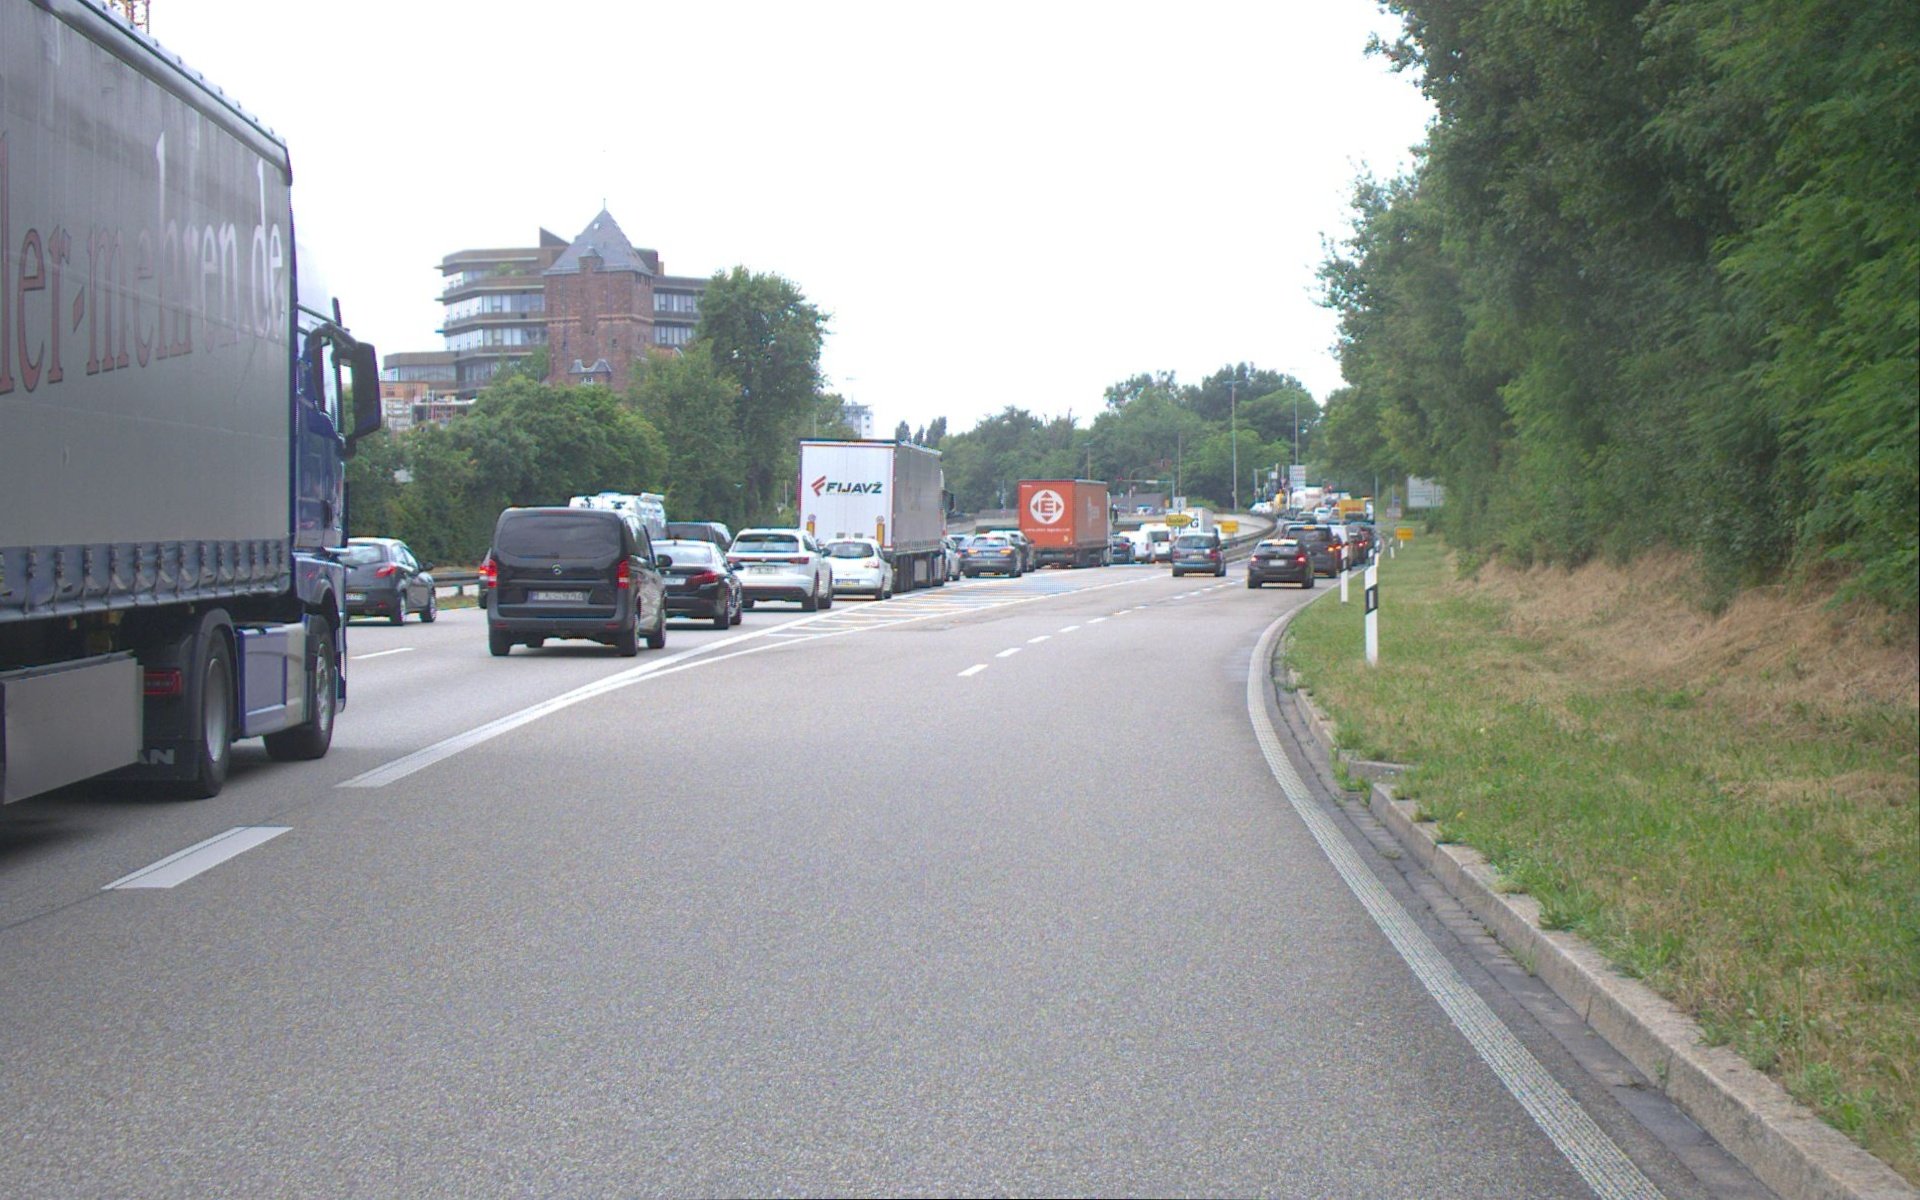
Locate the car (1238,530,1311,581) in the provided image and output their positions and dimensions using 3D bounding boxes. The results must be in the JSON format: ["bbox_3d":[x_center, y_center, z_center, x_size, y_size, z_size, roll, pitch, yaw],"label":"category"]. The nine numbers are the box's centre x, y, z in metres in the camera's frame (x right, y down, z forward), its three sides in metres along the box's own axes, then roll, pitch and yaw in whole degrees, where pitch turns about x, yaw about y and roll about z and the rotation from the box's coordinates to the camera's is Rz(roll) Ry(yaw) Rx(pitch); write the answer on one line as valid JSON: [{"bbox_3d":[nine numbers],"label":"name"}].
[{"bbox_3d":[9.290,-1.324,101.398,1.826,1.477,3.998,0,1,10],"label":"car"}]

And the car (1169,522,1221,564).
[{"bbox_3d":[8.597,-2.082,125.646,1.825,1.477,4.000,-1,1,5],"label":"car"}]

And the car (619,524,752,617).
[{"bbox_3d":[-4.554,-0.505,57.610,1.847,1.455,4.831,1,1,0],"label":"car"}]

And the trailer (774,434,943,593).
[{"bbox_3d":[-2.633,-2.274,94.678,3.299,4.022,13.096,1,1,4],"label":"trailer"}]

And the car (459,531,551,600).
[{"bbox_3d":[-9.436,-0.718,71.487,1.441,1.382,3.048,1,1,1],"label":"car"}]

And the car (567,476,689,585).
[{"bbox_3d":[-7.972,-1.674,82.978,1.994,2.545,5.361,0,1,5],"label":"car"}]

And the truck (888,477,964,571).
[{"bbox_3d":[-1.501,-3.412,157.622,2.739,4.124,10.696,1,1,3],"label":"truck"}]

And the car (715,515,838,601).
[{"bbox_3d":[-3.769,-0.860,71.291,1.956,1.689,4.865,1,1,4],"label":"car"}]

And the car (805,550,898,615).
[{"bbox_3d":[-2.585,-0.444,82.900,1.764,1.473,4.088,2,1,4],"label":"car"}]

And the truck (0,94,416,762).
[{"bbox_3d":[-5.532,-1.088,24.191,2.560,4.029,6.590,1,1,-2],"label":"truck"}]

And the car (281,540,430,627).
[{"bbox_3d":[-10.037,-0.295,57.326,1.674,1.384,4.000,0,1,2],"label":"car"}]

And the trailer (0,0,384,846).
[{"bbox_3d":[-5.355,-1.042,17.915,2.626,4.009,13.465,1,1,-1],"label":"trailer"}]

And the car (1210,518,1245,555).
[{"bbox_3d":[14.897,-3.541,191.278,1.951,2.007,3.999,0,1,5],"label":"car"}]

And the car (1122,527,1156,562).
[{"bbox_3d":[10.101,-3.118,194.022,1.615,1.941,3.704,1,1,7],"label":"car"}]

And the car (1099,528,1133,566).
[{"bbox_3d":[8.321,-2.817,183.116,1.615,1.941,3.704,1,1,5],"label":"car"}]

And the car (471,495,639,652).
[{"bbox_3d":[-5.233,-0.370,44.984,1.987,1.891,4.986,-2,1,-5],"label":"car"}]

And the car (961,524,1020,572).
[{"bbox_3d":[1.111,-1.870,124.082,1.717,1.678,3.999,1,1,6],"label":"car"}]

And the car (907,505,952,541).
[{"bbox_3d":[-1.729,-4.336,193.488,1.994,2.007,3.999,0,1,8],"label":"car"}]

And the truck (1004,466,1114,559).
[{"bbox_3d":[4.680,-4.043,159.046,3.491,4.059,13.588,0,1,8],"label":"truck"}]
